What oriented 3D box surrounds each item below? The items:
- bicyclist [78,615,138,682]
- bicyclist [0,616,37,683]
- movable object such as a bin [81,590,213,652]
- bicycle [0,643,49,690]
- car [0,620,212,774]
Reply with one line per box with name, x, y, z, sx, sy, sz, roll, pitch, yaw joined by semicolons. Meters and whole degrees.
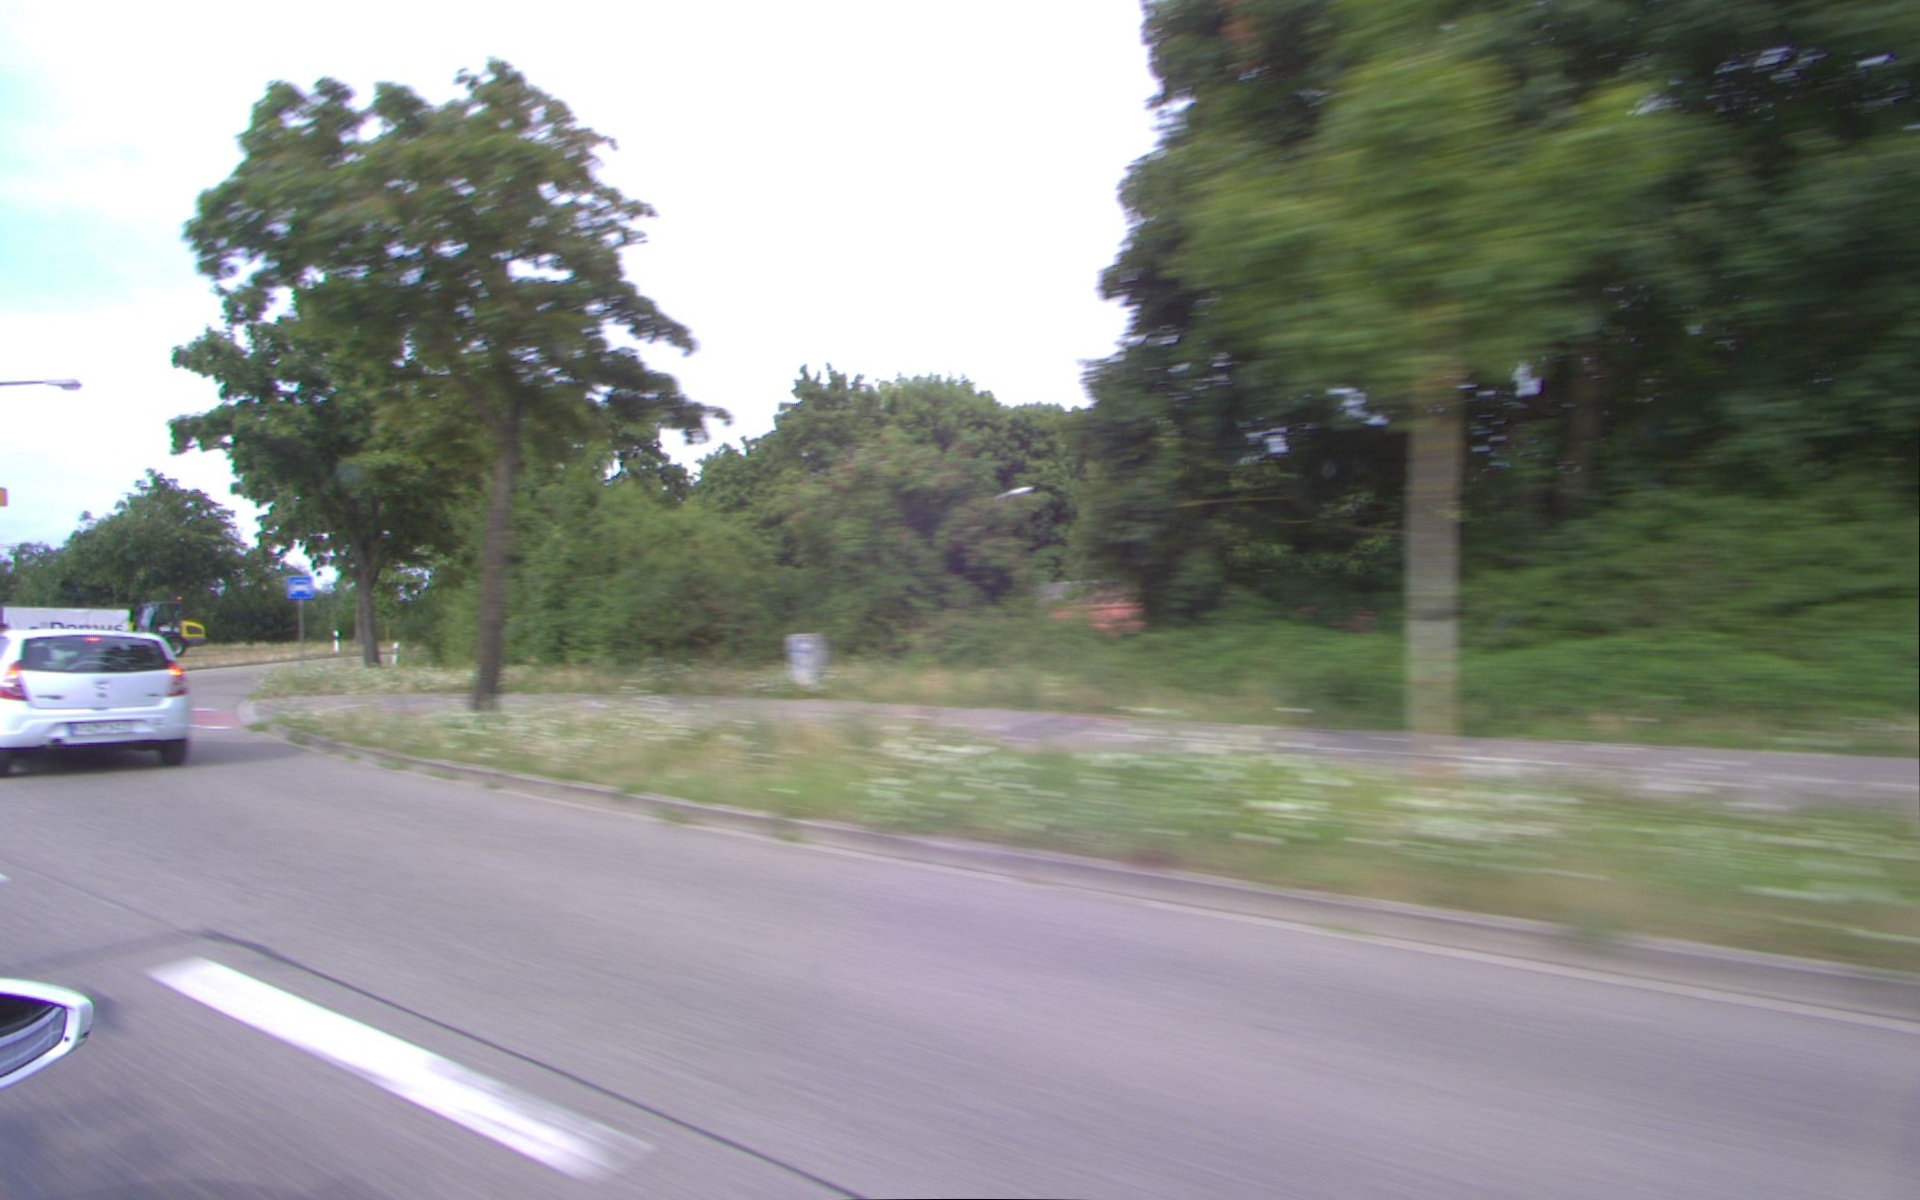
bicyclist;-19.212;1.096;22.597;0.792;1.492;0.741;-1;-1;20
bicyclist;-22.147;1.149;23.221;0.941;1.506;0.742;-1;-1;20
movable object such as a bin;-37.913;1.009;46.806;2.076;2.723;4.485;-2;-2;38
bicycle;-22.027;1.535;23.156;1.756;1.019;0.620;-2;1;20
car;-10.441;1.035;11.762;3.954;1.521;1.839;-2;-3;41
